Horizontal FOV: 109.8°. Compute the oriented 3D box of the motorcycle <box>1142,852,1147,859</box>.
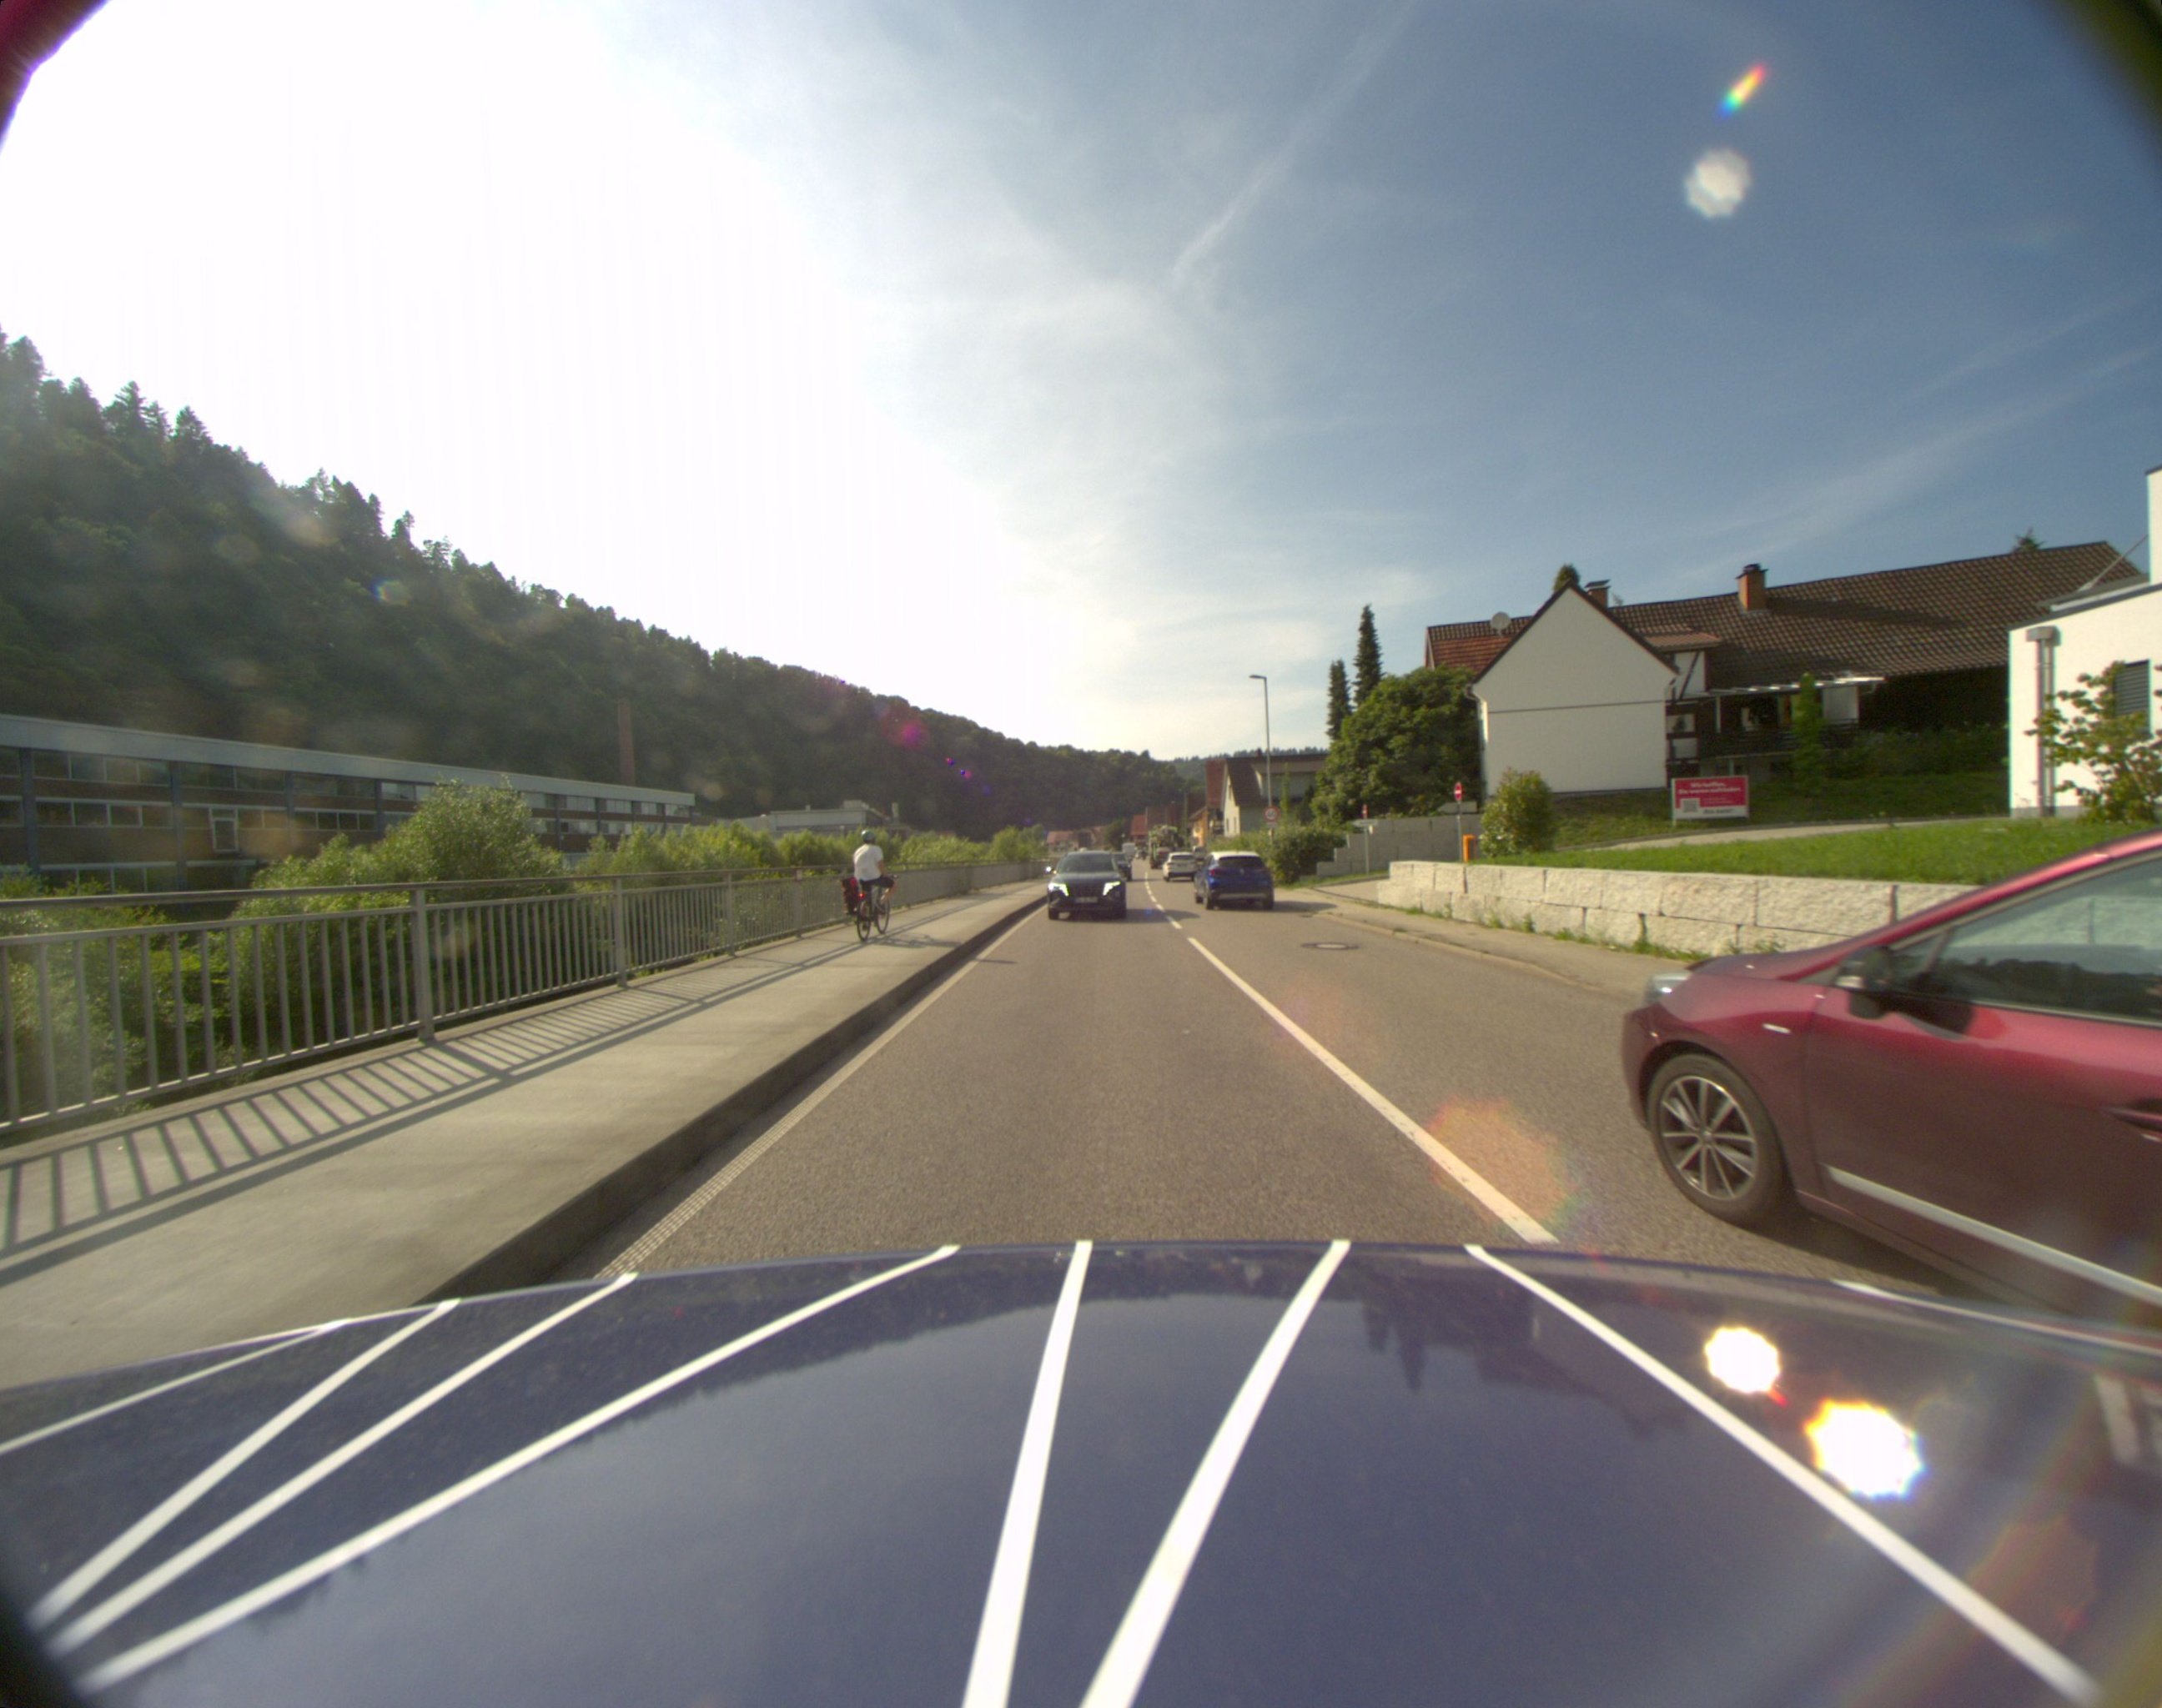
[{"bbox_3d":[9.757,0.218,116.365,0.655,1.062,2.183,-2,1,7],"label":"motorcycle"}]

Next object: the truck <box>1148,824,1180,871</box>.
[{"bbox_3d":[7.508,-0.614,70.059,2.584,3.909,11.309,-2,0,5],"label":"truck"}]

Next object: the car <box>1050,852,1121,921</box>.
[{"bbox_3d":[0.024,0.790,20.622,1.649,1.639,3.998,-1,0,-3],"label":"car"}]

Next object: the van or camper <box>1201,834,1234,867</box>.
[{"bbox_3d":[11.458,-0.290,64.266,2.152,2.540,5.903,-3,0,6],"label":"van or camper"}]

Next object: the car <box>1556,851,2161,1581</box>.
[{"bbox_3d":[3.284,0.795,1.649,1.801,1.608,4.463,0,0,1],"label":"car"}]

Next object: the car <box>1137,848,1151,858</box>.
[{"bbox_3d":[10.930,-0.176,131.072,1.633,1.476,4.003,-4,1,14],"label":"car"}]

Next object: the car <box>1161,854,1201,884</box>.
[{"bbox_3d":[5.347,0.746,40.957,1.753,1.495,4.191,-1,0,3],"label":"car"}]

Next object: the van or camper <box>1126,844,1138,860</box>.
[{"bbox_3d":[10.319,-0.447,152.982,2.200,2.921,7.128,-3,0,3],"label":"van or camper"}]

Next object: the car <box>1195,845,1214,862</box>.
[{"bbox_3d":[13.480,-0.067,83.207,1.904,1.655,4.269,-3,1,8],"label":"car"}]

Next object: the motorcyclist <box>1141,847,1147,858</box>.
[{"bbox_3d":[9.667,-0.231,115.782,0.827,1.549,0.628,-2,1,8],"label":"motorcyclist"}]

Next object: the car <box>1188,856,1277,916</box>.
[{"bbox_3d":[4.152,0.818,21.380,1.748,1.517,4.000,-1,0,1],"label":"car"}]
